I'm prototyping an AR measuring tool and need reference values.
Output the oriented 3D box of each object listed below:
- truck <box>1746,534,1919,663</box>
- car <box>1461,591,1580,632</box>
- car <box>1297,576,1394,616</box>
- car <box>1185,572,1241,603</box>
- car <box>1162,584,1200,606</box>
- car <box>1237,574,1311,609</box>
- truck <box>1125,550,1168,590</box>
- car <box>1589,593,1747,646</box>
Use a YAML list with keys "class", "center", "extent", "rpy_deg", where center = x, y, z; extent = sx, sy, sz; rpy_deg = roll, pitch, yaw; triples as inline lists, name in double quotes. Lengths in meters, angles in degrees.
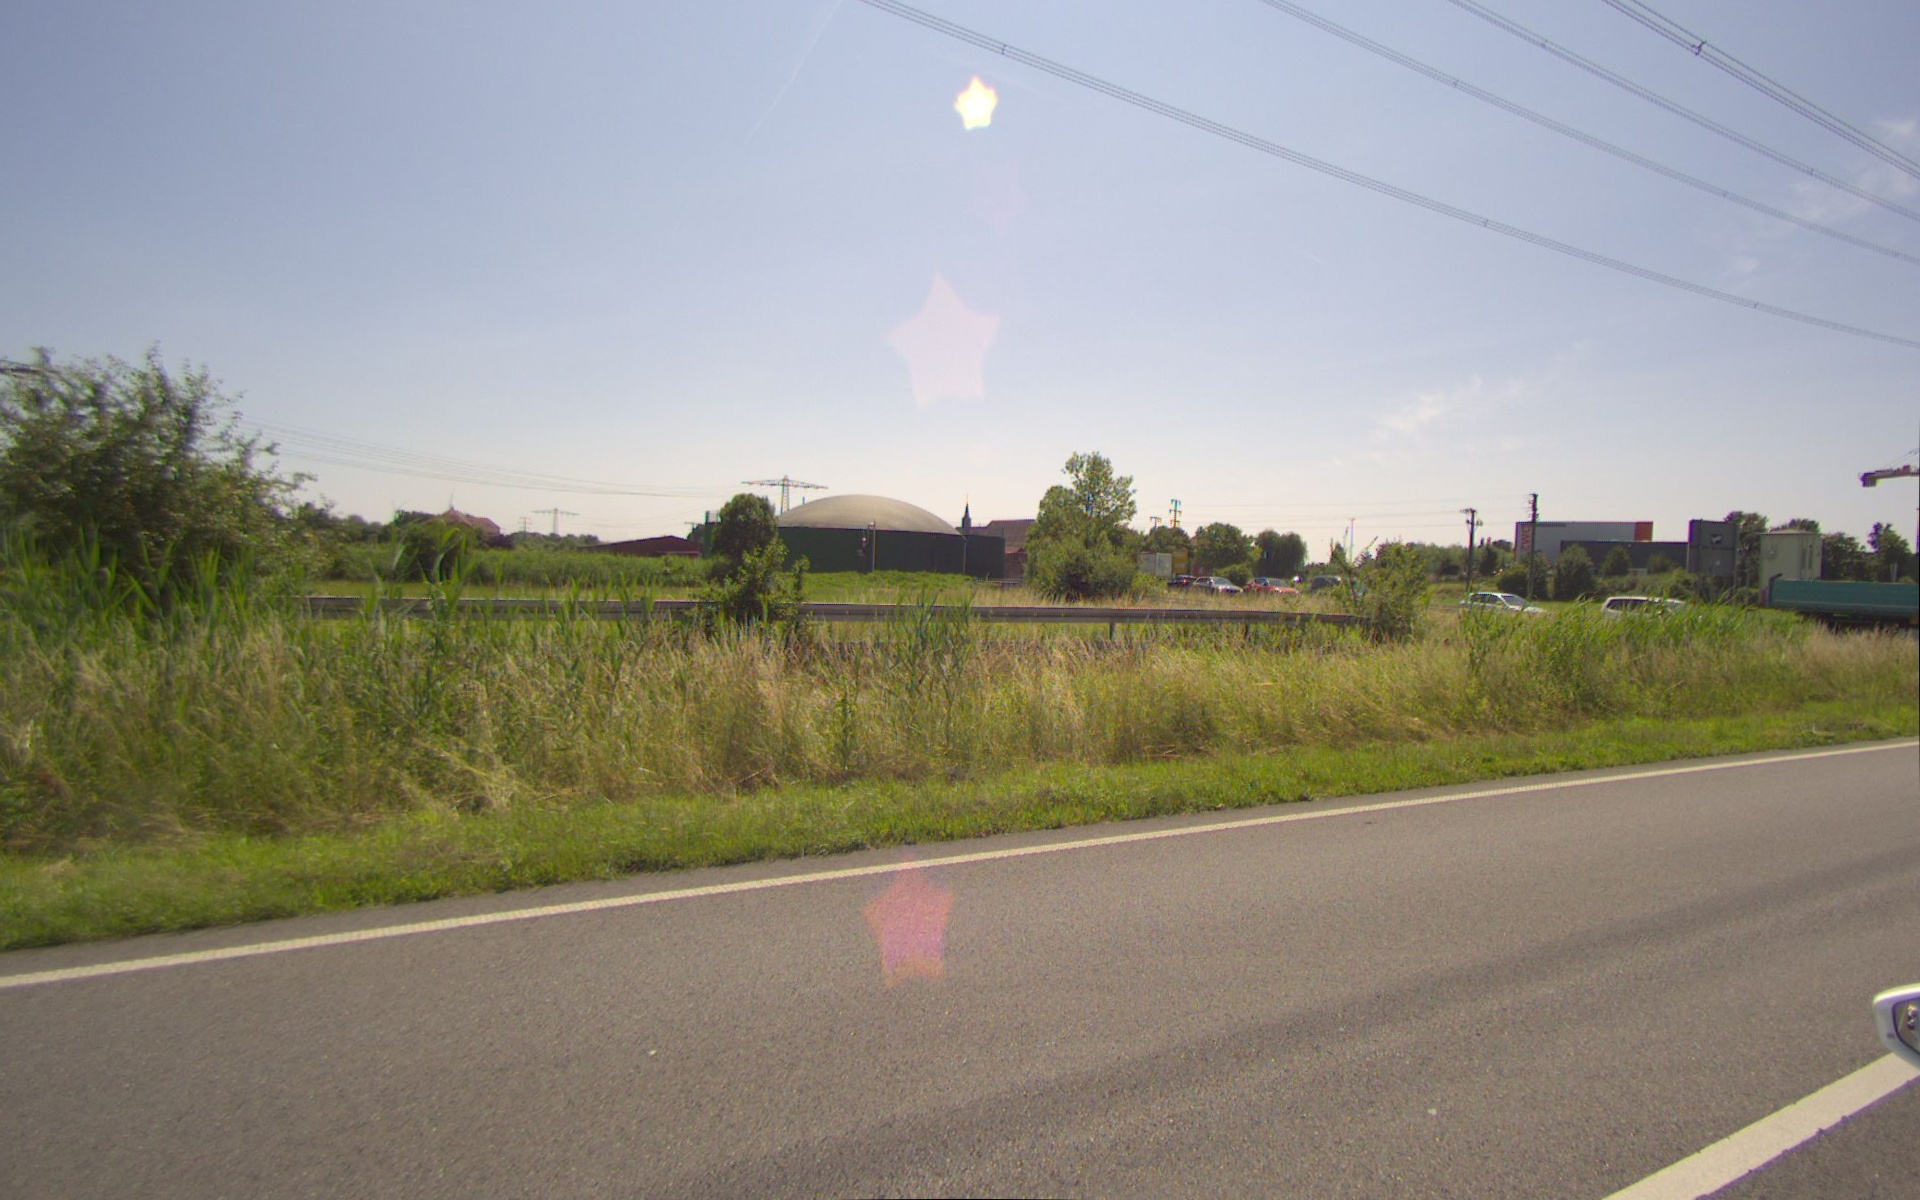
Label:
- class: "truck"
  center: [29.004, -0.038, 30.310]
  extent: [2.465, 3.785, 7.876]
  rpy_deg: [1, 3, -26]
- class: "car"
  center: [23.734, 0.455, 42.742]
  extent: [1.691, 1.490, 4.428]
  rpy_deg: [1, 1, -18]
- class: "car"
  center: [20.236, -0.241, 53.002]
  extent: [2.056, 1.893, 4.929]
  rpy_deg: [0, 2, -20]
- class: "car"
  center: [16.565, -0.866, 65.939]
  extent: [1.633, 1.927, 3.984]
  rpy_deg: [1, 1, -18]
- class: "car"
  center: [18.390, -0.399, 83.815]
  extent: [1.962, 1.701, 3.997]
  rpy_deg: [1, 0, -5]
- class: "car"
  center: [18.529, -0.513, 59.517]
  extent: [1.885, 1.874, 4.465]
  rpy_deg: [1, 2, -18]
- class: "truck"
  center: [23.922, -3.704, 127.972]
  extent: [3.616, 4.708, 13.242]
  rpy_deg: [2, 1, 18]
- class: "car"
  center: [25.872, 0.662, 36.920]
  extent: [1.935, 1.634, 4.542]
  rpy_deg: [1, 2, -14]
